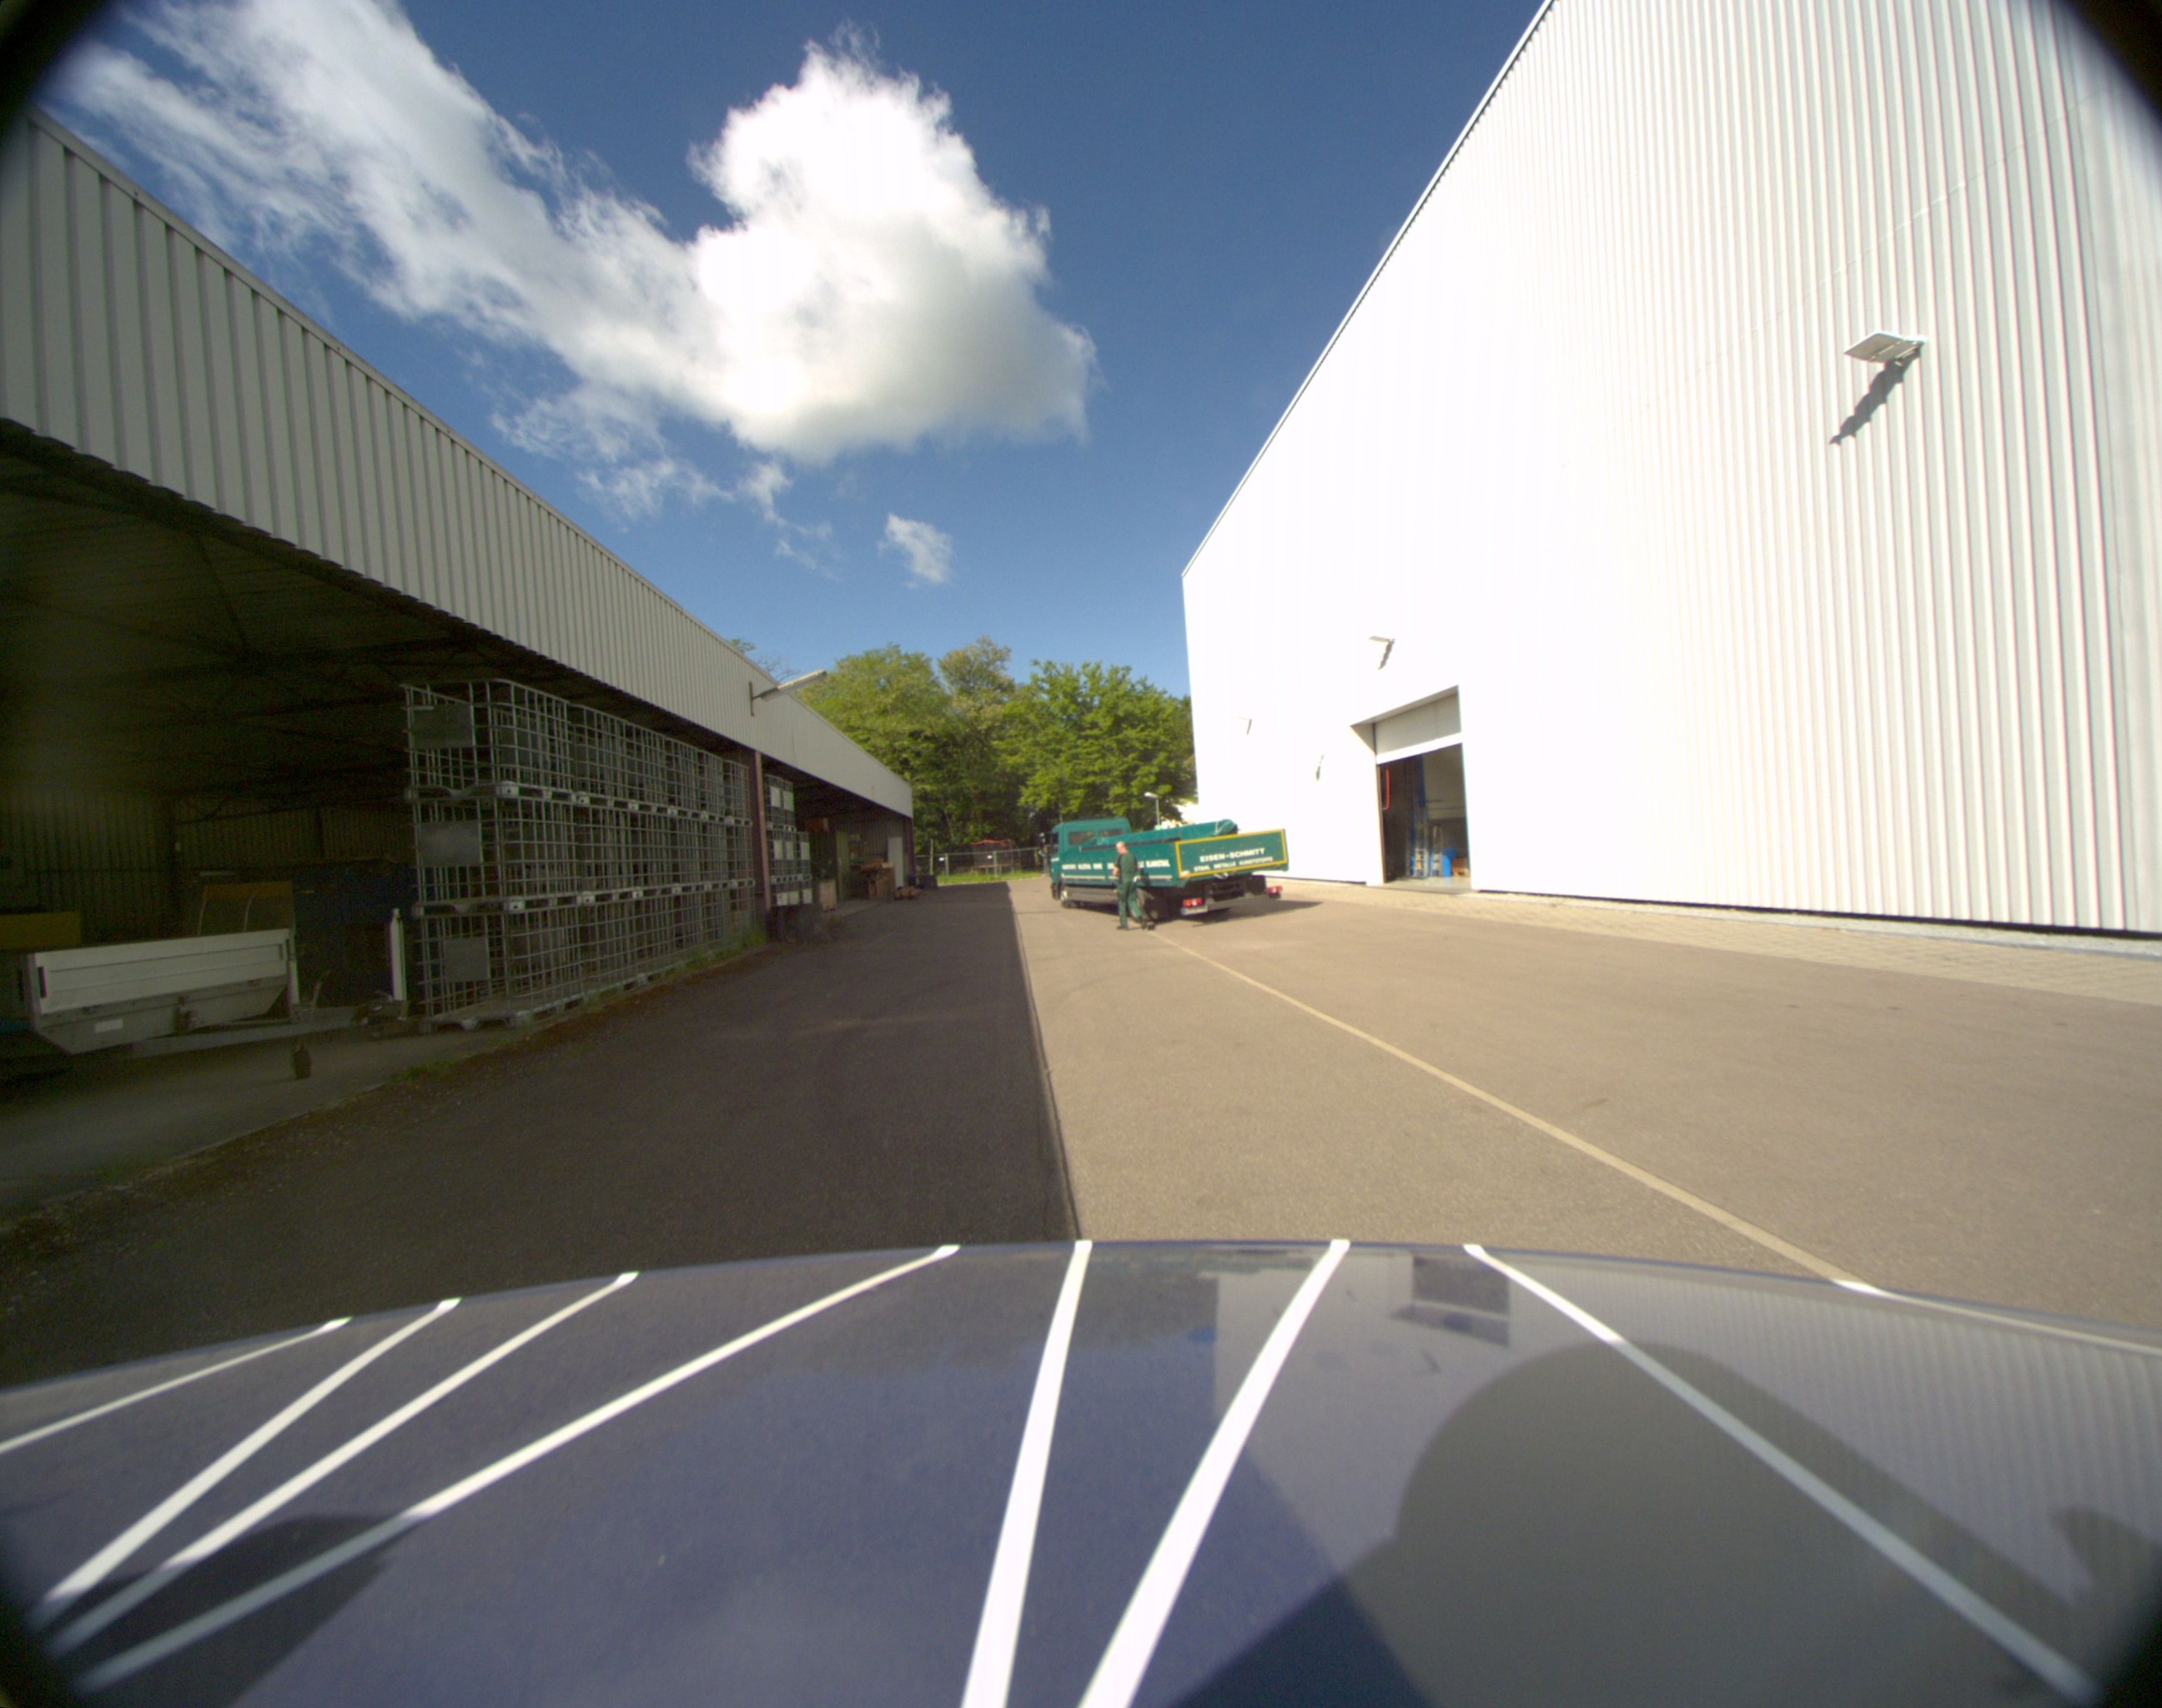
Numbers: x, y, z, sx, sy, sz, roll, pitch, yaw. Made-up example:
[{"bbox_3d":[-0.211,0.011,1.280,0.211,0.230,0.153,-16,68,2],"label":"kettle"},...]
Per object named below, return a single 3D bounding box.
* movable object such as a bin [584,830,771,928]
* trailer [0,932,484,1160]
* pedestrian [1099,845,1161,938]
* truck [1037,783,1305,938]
[{"bbox_3d":[-12.382,0.742,23.595,4.629,2.706,1.999,-2,-1,-8],"label":"movable object such as a bin"},{"bbox_3d":[-8.239,1.436,5.611,5.752,1.126,2.007,-3,0,-7],"label":"trailer"},{"bbox_3d":[0.976,0.729,15.399,0.895,1.792,1.038,-2,1,-18],"label":"pedestrian"},{"bbox_3d":[1.543,0.198,19.145,2.590,2.701,9.681,-7,1,-18],"label":"truck"}]
